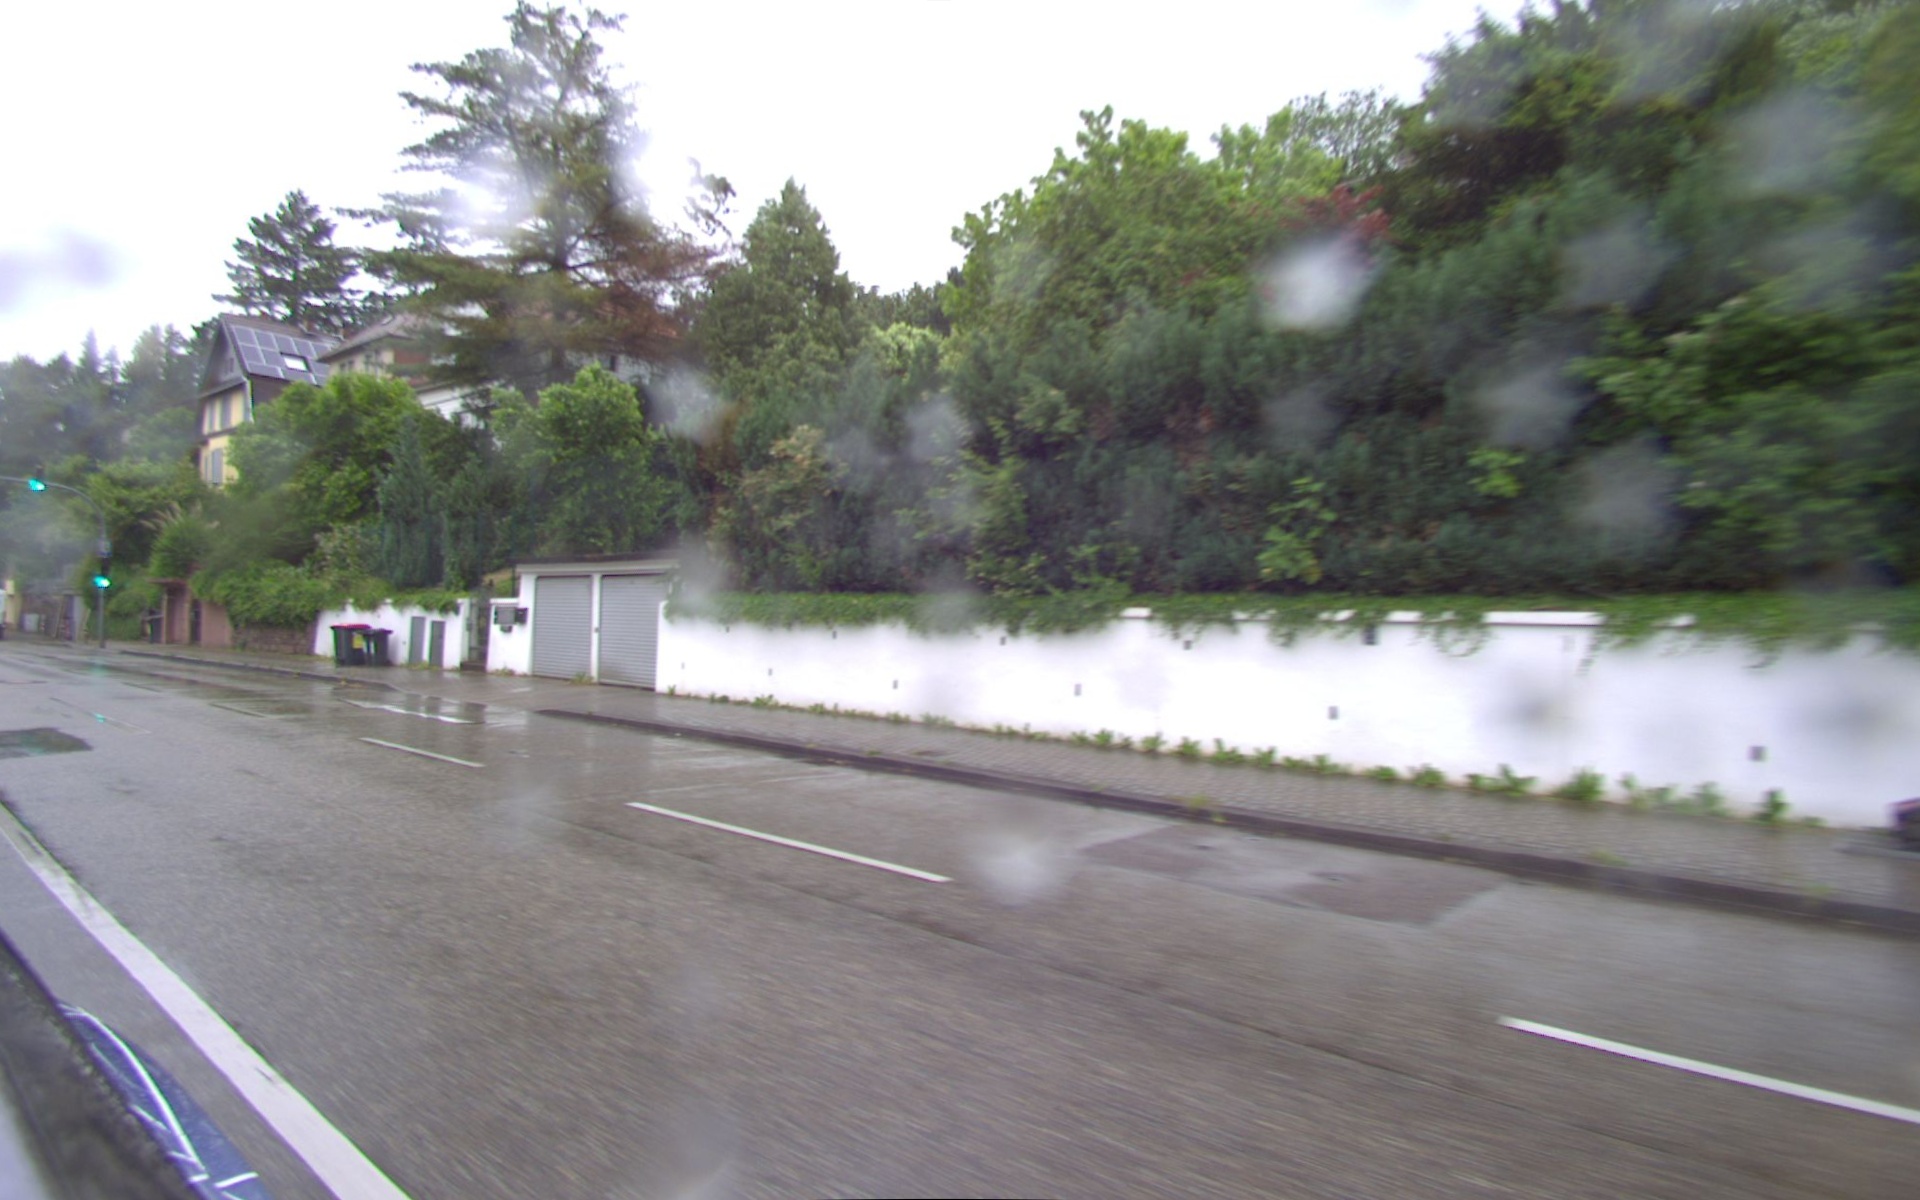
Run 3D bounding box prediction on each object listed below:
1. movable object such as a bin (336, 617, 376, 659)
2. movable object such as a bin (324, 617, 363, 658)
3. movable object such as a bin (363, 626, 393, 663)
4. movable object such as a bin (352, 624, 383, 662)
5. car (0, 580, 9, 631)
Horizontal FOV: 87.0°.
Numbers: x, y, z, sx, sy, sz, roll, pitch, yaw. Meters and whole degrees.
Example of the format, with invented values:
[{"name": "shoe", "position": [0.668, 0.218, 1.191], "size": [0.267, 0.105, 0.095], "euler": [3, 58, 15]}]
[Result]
[{"name": "movable object such as a bin", "position": [-15.574, 0.980, 26.090], "size": [0.656, 1.048, 0.674], "euler": [0, -1, 38]}, {"name": "movable object such as a bin", "position": [-16.243, 0.980, 26.654], "size": [0.656, 1.048, 0.674], "euler": [0, -1, 38]}, {"name": "movable object such as a bin", "position": [-14.609, 1.116, 25.396], "size": [0.416, 0.905, 0.526], "euler": [0, -1, 38]}, {"name": "movable object such as a bin", "position": [-15.013, 1.085, 25.643], "size": [0.416, 0.947, 0.537], "euler": [0, -1, 38]}, {"name": "car", "position": [-49.118, 0.177, 50.170], "size": [4.849, 2.497, 2.059], "euler": [0, -5, 39]}]
